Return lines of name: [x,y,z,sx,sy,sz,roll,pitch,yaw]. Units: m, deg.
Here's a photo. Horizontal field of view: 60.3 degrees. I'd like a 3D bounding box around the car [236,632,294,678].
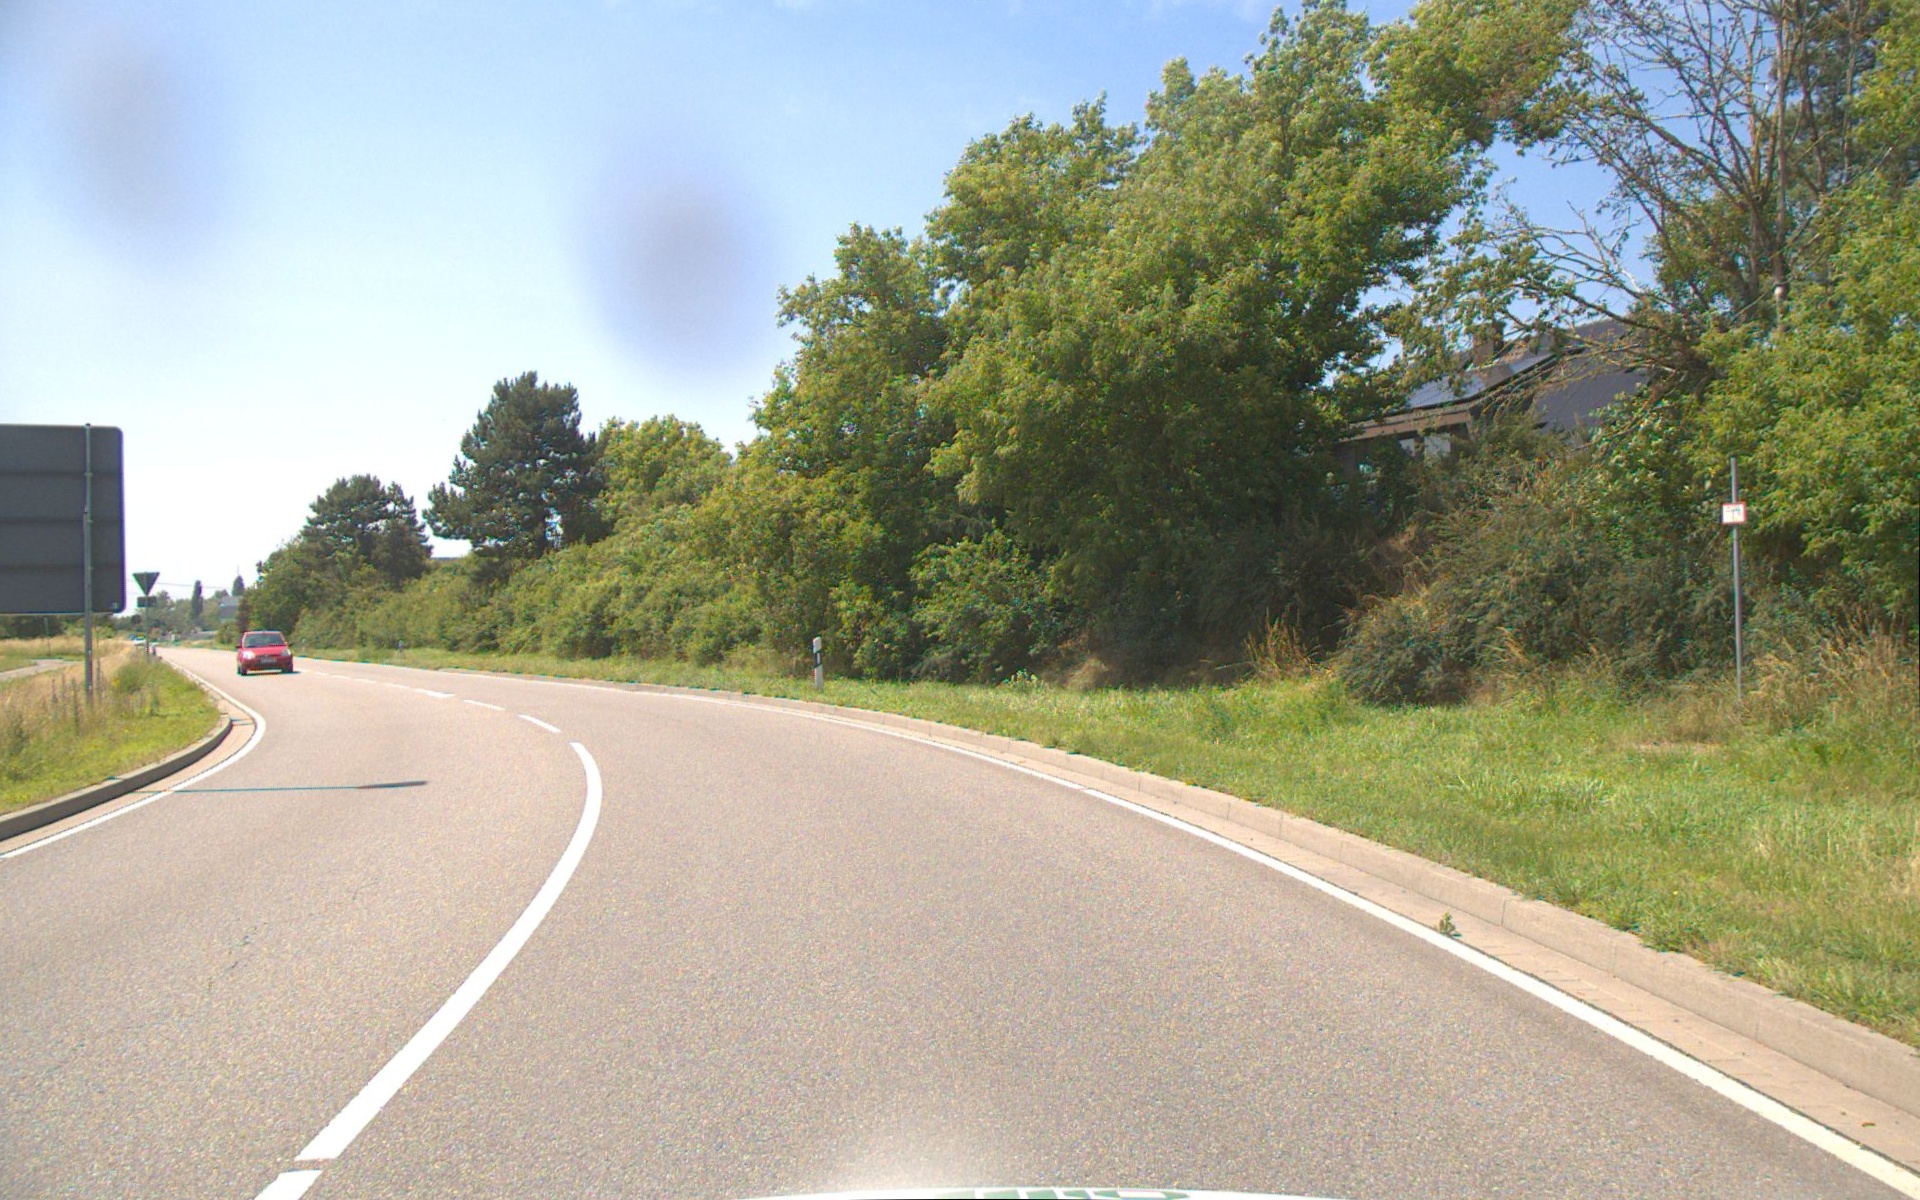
car: [-24.134,1.889,57.387,1.635,1.458,3.705,-3,0,-26]
